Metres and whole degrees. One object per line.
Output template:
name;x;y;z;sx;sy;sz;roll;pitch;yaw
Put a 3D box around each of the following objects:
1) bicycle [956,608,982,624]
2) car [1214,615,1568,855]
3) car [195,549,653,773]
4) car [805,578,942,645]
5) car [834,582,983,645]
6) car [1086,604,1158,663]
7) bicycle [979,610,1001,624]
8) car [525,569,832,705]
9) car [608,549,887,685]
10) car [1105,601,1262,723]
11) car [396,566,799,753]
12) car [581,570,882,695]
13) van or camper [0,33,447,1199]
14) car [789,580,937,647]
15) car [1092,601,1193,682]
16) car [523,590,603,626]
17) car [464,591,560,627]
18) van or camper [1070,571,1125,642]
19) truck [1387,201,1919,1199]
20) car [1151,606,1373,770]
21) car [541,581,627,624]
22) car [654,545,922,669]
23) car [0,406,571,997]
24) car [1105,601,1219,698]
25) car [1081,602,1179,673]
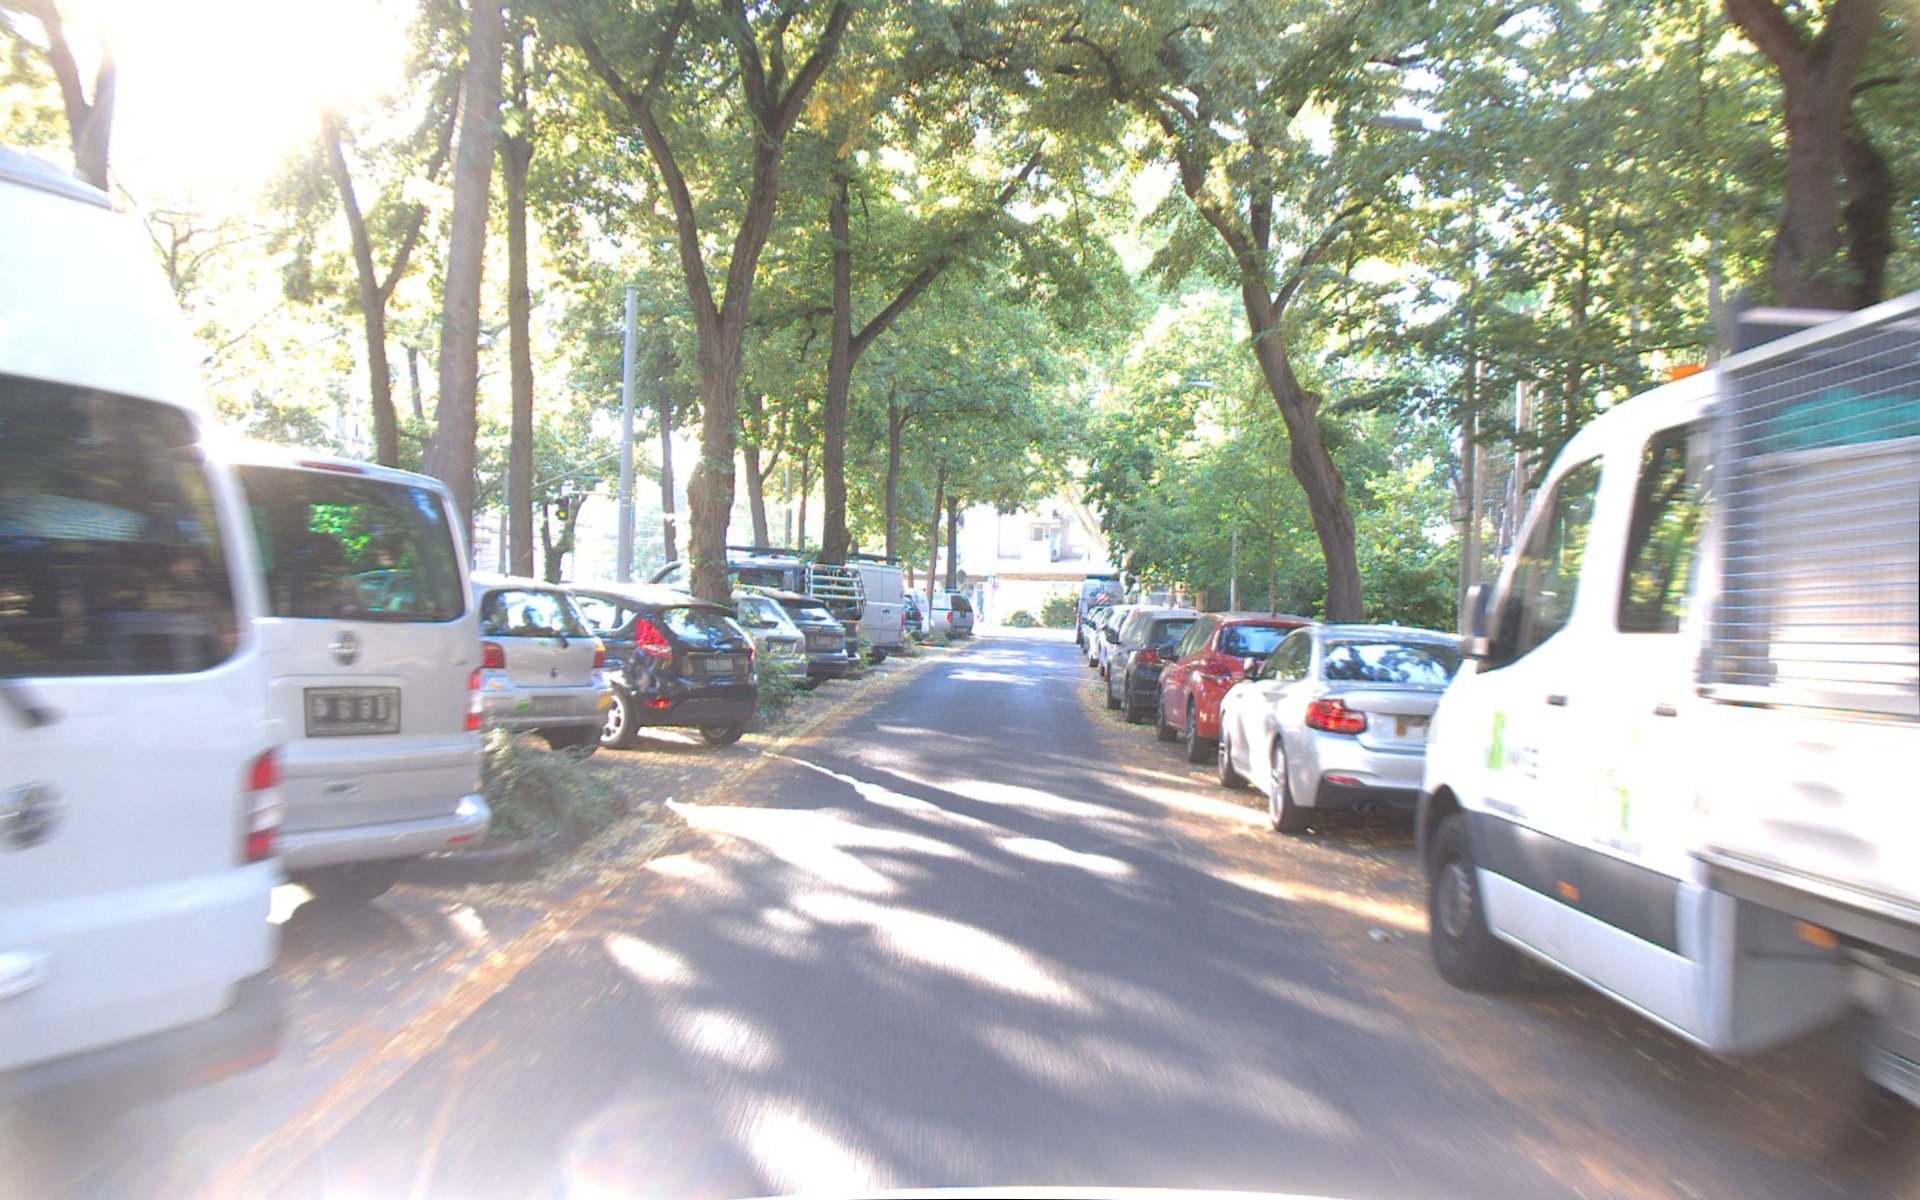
bicycle;0.589;1.041;108.695;0.633;1.040;2.061;1;0;-37
car;3.019;0.859;12.472;1.637;1.422;4.300;2;0;2
car;-4.597;0.467;14.140;3.475;1.519;1.821;4;0;31
car;-2.793;0.369;53.104;4.083;1.812;1.875;4;0;39
car;-1.853;0.474;59.017;4.895;1.812;1.983;4;0;30
car;4.252;0.848;44.066;1.645;1.449;4.660;2;0;3
bicycle;1.940;1.099;106.807;0.537;0.920;1.717;1;0;-31
car;-3.946;0.491;22.995;4.009;1.514;1.779;4;0;33
car;-3.724;0.267;28.639;4.620;1.976;1.928;4;0;35
car;2.960;0.776;22.601;1.638;1.479;3.949;2;0;1
car;-3.649;0.546;16.436;3.750;1.464;1.818;4;0;36
car;-3.621;0.482;25.872;4.480;1.567;1.928;4;0;35
van or camper;-3.946;0.025;4.422;4.779;2.513;2.042;4;0;29
car;-2.952;0.412;49.884;4.076;1.672;1.908;4;0;34
car;3.586;0.784;33.086;1.645;1.479;4.077;2;0;2
car;-18.848;0.371;78.473;3.573;1.668;1.657;1;0;32
car;-18.752;0.362;69.249;3.654;1.405;1.725;1;0;27
van or camper;5.709;0.274;69.197;2.040;2.811;5.847;2;0;3
truck;3.182;0.379;4.365;2.249;2.428;6.933;2;0;0
car;3.047;0.829;17.425;1.638;1.479;3.949;2;0;1
car;-18.597;0.135;81.826;3.917;2.049;1.994;1;0;34
car;-3.686;0.131;34.992;5.399;2.174;2.076;4;0;32
car;-4.360;0.239;7.726;4.782;2.012;2.040;4;0;31
car;3.336;0.789;27.855;1.558;1.479;3.555;2;0;2
car;3.857;0.819;38.060;1.647;1.479;4.074;2;0;-2
